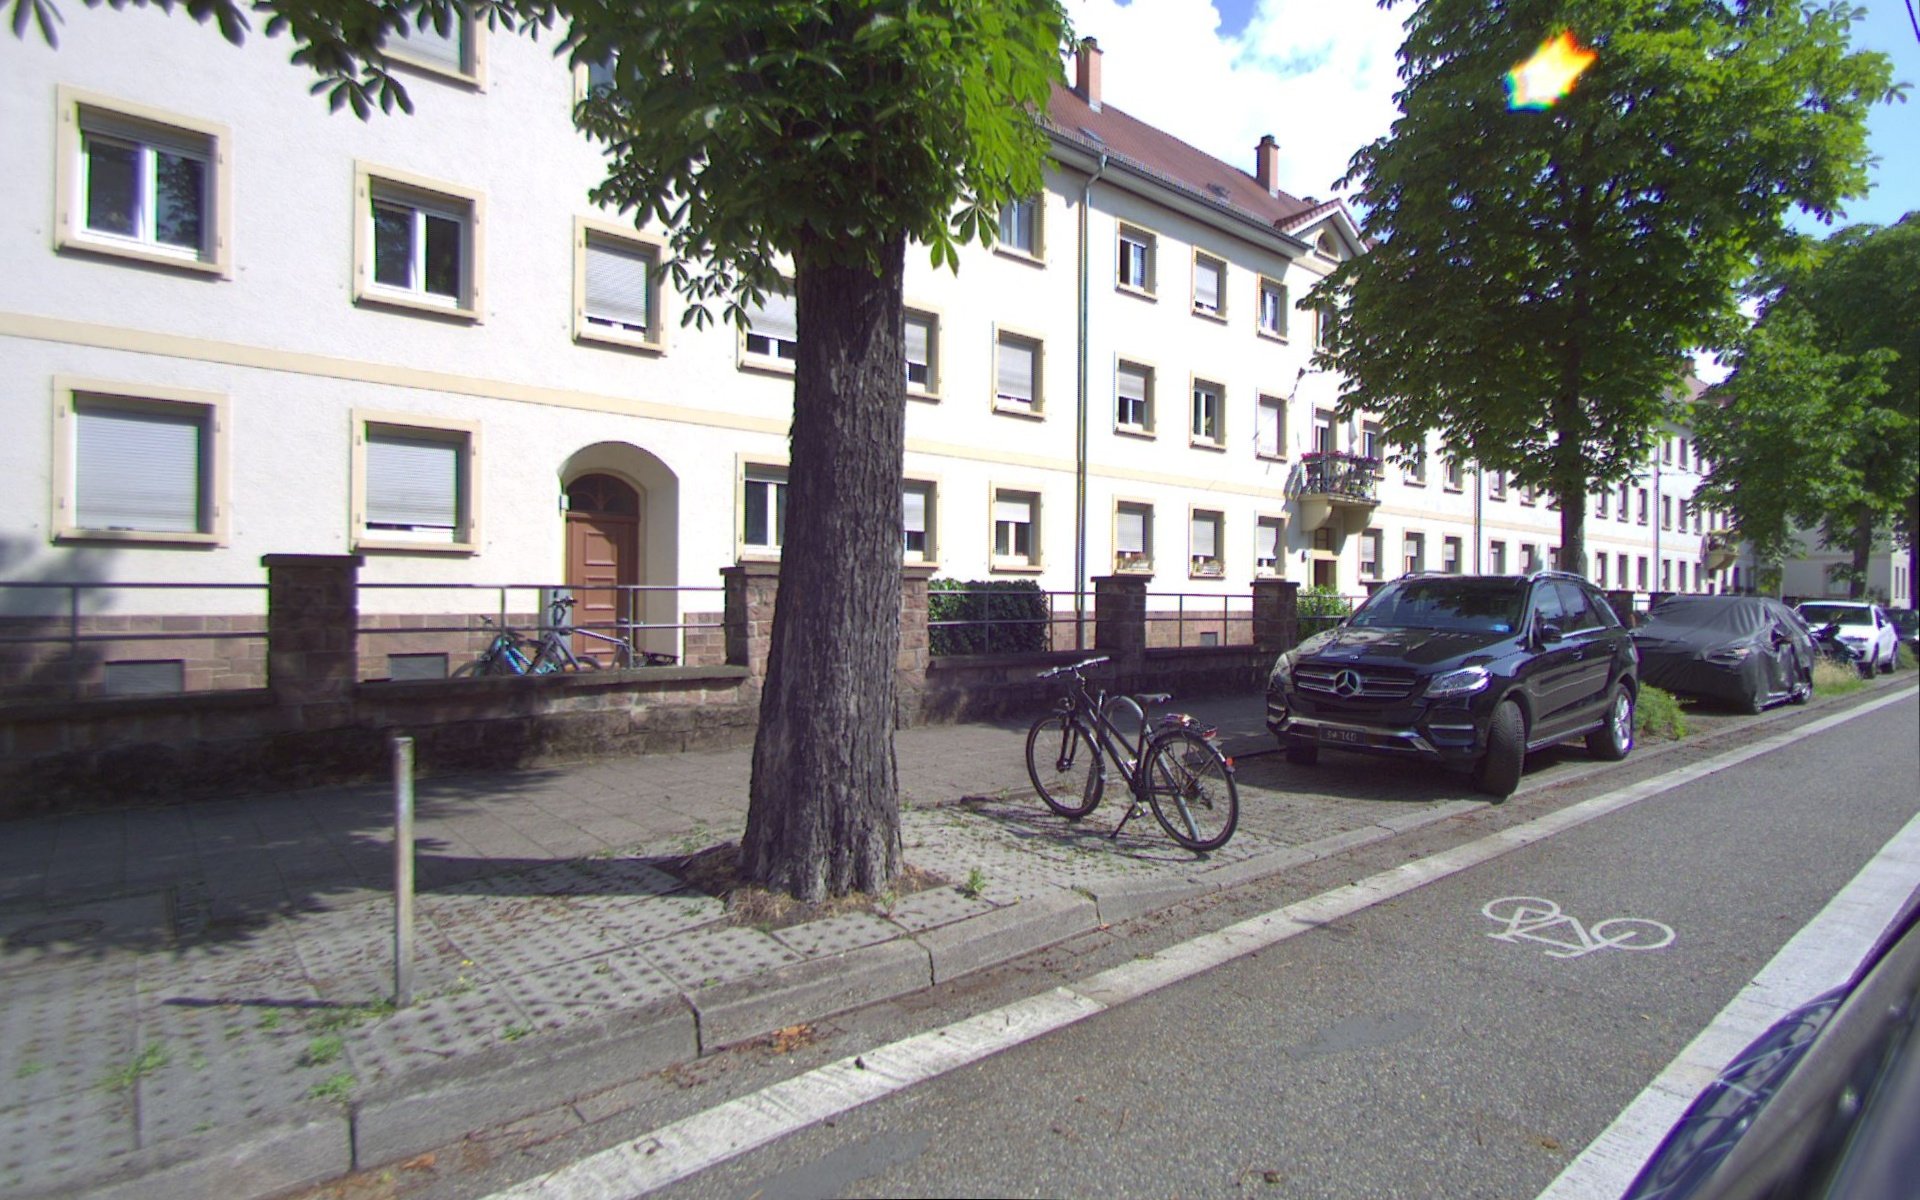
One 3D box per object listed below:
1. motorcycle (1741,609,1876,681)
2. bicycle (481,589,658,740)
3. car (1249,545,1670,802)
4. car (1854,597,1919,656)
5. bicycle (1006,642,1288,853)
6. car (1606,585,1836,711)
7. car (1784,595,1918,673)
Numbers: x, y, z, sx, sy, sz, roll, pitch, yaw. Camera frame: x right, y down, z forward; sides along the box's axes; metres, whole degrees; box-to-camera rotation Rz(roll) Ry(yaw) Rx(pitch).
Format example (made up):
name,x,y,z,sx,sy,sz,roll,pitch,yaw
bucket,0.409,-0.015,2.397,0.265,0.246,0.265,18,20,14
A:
name,x,y,z,sx,sy,sz,roll,pitch,yaw
motorcycle,16.933,0.862,20.243,0.735,1.354,2.008,0,0,-44
bicycle,-3.440,0.536,8.987,1.431,1.260,0.305,0,0,-36
car,4.783,0.517,9.340,4.650,1.805,1.830,0,0,-41
car,26.502,0.690,28.365,4.213,1.540,1.663,0,0,-41
bicycle,1.088,0.820,6.242,0.626,1.020,1.712,0,0,-39
car,11.845,0.621,15.634,4.555,1.674,1.866,0,0,-40
car,20.041,0.694,22.715,4.175,1.601,1.745,0,0,-41
